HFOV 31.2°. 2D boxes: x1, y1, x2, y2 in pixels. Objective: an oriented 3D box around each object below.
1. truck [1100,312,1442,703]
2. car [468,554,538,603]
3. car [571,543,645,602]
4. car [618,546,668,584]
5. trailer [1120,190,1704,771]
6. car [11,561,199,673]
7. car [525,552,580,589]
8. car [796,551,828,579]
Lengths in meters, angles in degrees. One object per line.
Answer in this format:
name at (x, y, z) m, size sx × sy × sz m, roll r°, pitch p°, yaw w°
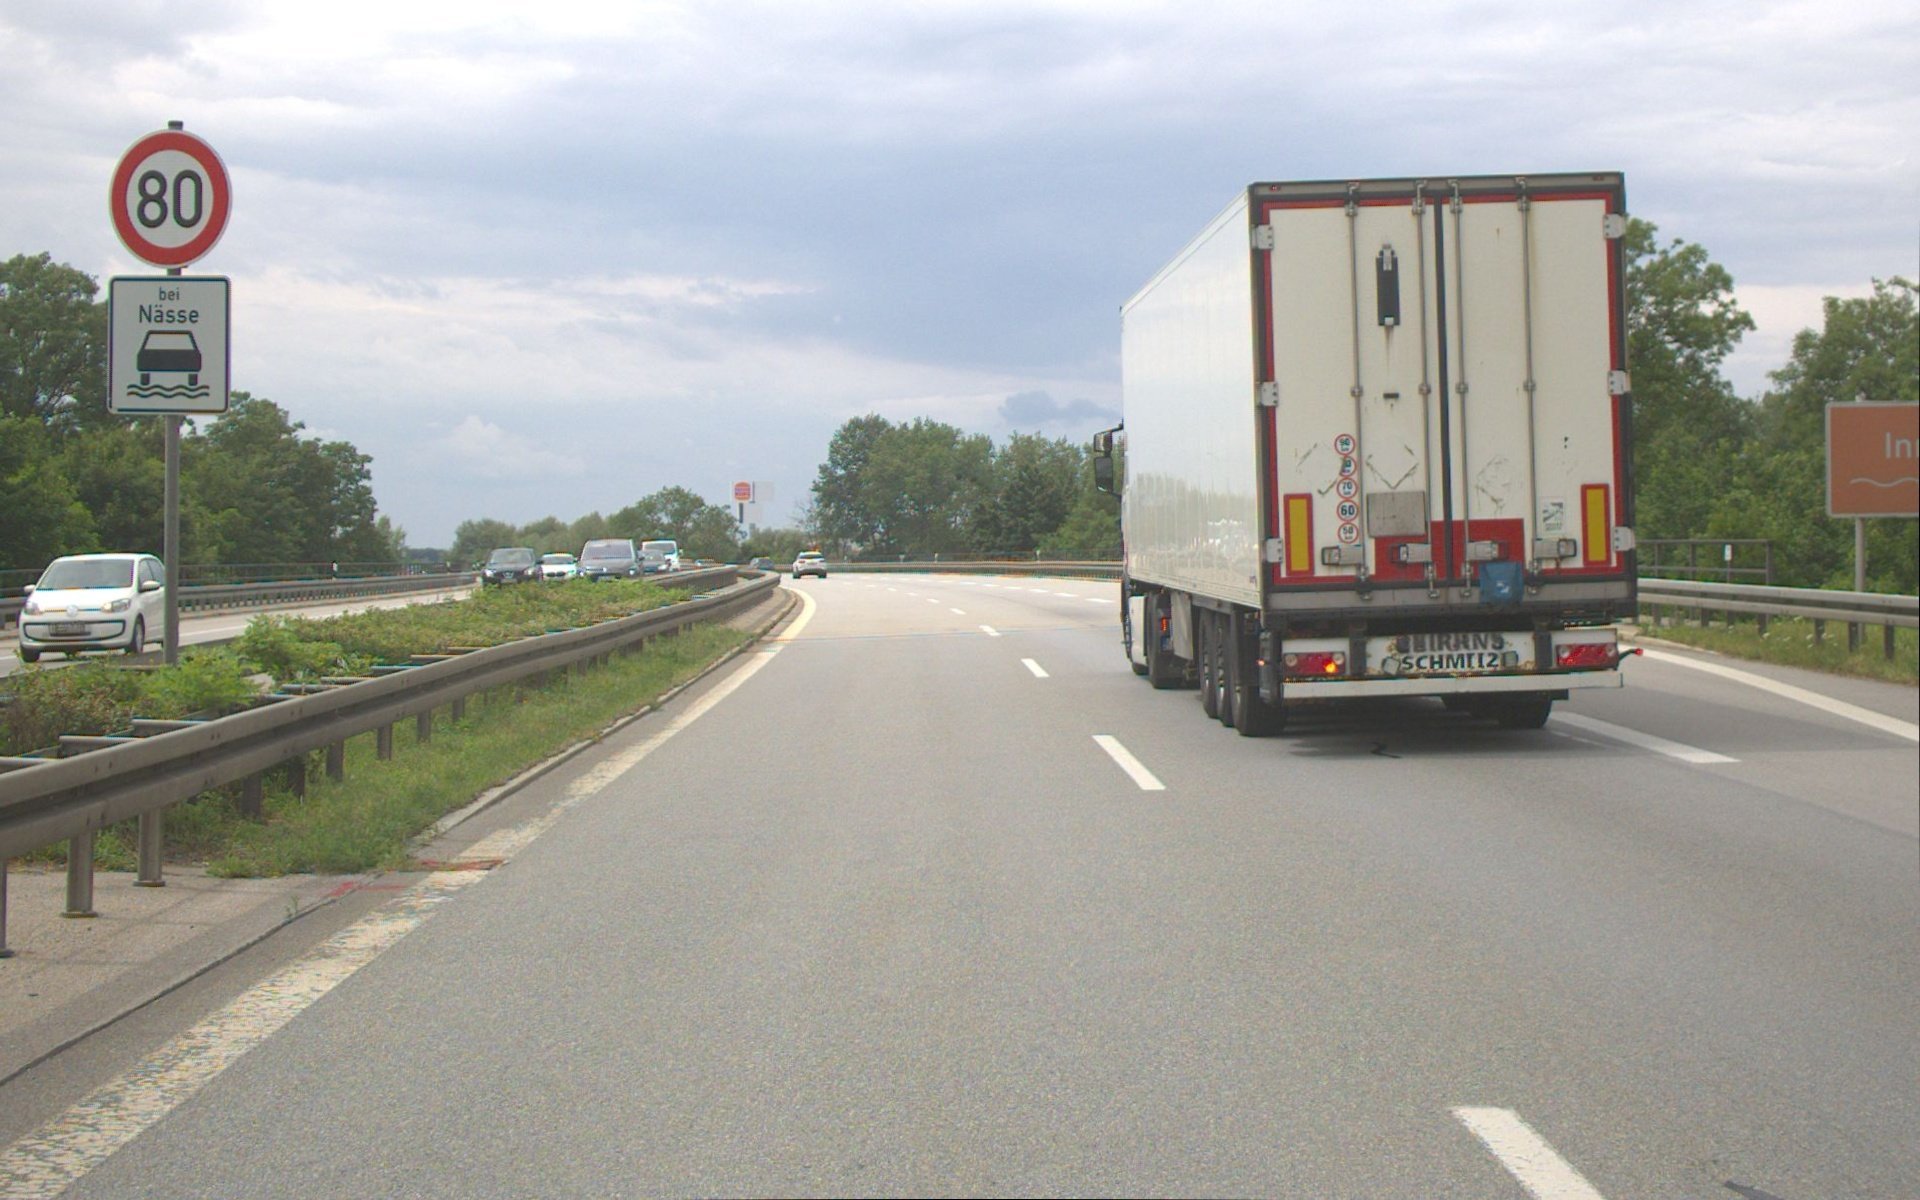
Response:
truck at (3.234, -0.966, 37.374) m, size 3.062 × 3.878 × 6.000 m, roll 0°, pitch 1°, yaw -1°
car at (-14.867, -0.713, 112.110) m, size 1.729 × 1.554 × 4.332 m, roll -1°, pitch 1°, yaw -1°
car at (-10.221, -0.818, 100.022) m, size 1.725 × 1.645 × 4.223 m, roll 0°, pitch 1°, yaw 0°
car at (-13.630, -1.511, 147.849) m, size 1.845 × 1.606 × 4.947 m, roll 1°, pitch 1°, yaw -2°
trailer at (3.360, -0.895, 29.990) m, size 3.062 × 3.877 × 13.791 m, roll 0°, pitch 1°, yaw -1°
car at (-12.110, 0.206, 48.909) m, size 1.650 × 1.487 × 4.283 m, roll 1°, pitch 1°, yaw -1°
car at (-16.652, -1.228, 140.691) m, size 1.845 × 1.433 × 3.936 m, roll -2°, pitch 1°, yaw -2°
car at (-9.246, -2.161, 214.794) m, size 1.902 × 1.634 × 4.396 m, roll -1°, pitch 0°, yaw -4°
